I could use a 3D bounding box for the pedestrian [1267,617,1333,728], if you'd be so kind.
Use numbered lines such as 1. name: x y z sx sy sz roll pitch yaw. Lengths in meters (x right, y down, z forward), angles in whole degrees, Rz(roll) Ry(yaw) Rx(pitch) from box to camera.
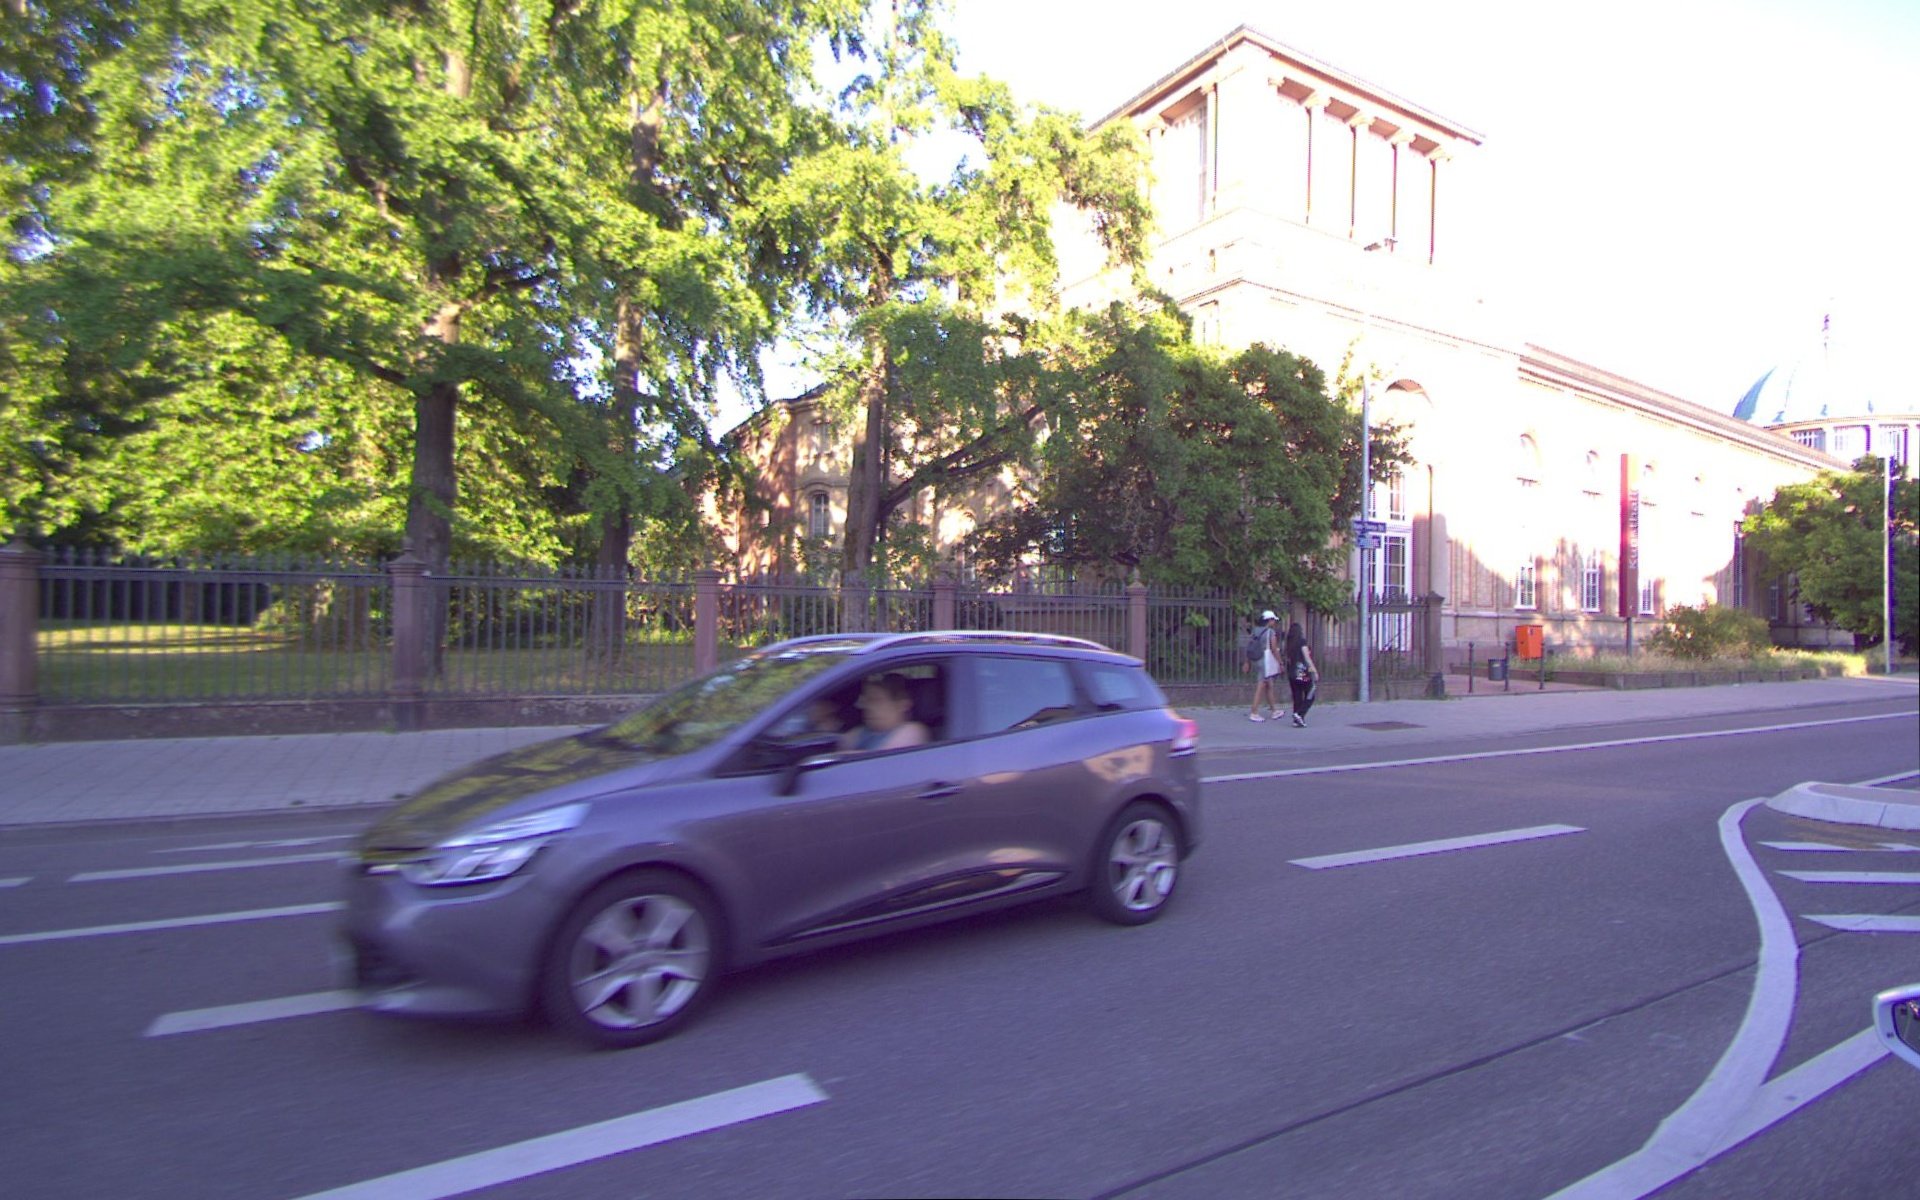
1. pedestrian: 5.187 1.084 15.339 0.679 1.644 0.679 1 -1 -25

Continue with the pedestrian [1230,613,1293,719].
1. pedestrian: 4.822 1.039 16.070 0.679 1.644 0.679 1 -1 -23

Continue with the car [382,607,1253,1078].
1. car: -0.529 0.827 5.050 3.962 1.458 1.823 2 -3 -36
